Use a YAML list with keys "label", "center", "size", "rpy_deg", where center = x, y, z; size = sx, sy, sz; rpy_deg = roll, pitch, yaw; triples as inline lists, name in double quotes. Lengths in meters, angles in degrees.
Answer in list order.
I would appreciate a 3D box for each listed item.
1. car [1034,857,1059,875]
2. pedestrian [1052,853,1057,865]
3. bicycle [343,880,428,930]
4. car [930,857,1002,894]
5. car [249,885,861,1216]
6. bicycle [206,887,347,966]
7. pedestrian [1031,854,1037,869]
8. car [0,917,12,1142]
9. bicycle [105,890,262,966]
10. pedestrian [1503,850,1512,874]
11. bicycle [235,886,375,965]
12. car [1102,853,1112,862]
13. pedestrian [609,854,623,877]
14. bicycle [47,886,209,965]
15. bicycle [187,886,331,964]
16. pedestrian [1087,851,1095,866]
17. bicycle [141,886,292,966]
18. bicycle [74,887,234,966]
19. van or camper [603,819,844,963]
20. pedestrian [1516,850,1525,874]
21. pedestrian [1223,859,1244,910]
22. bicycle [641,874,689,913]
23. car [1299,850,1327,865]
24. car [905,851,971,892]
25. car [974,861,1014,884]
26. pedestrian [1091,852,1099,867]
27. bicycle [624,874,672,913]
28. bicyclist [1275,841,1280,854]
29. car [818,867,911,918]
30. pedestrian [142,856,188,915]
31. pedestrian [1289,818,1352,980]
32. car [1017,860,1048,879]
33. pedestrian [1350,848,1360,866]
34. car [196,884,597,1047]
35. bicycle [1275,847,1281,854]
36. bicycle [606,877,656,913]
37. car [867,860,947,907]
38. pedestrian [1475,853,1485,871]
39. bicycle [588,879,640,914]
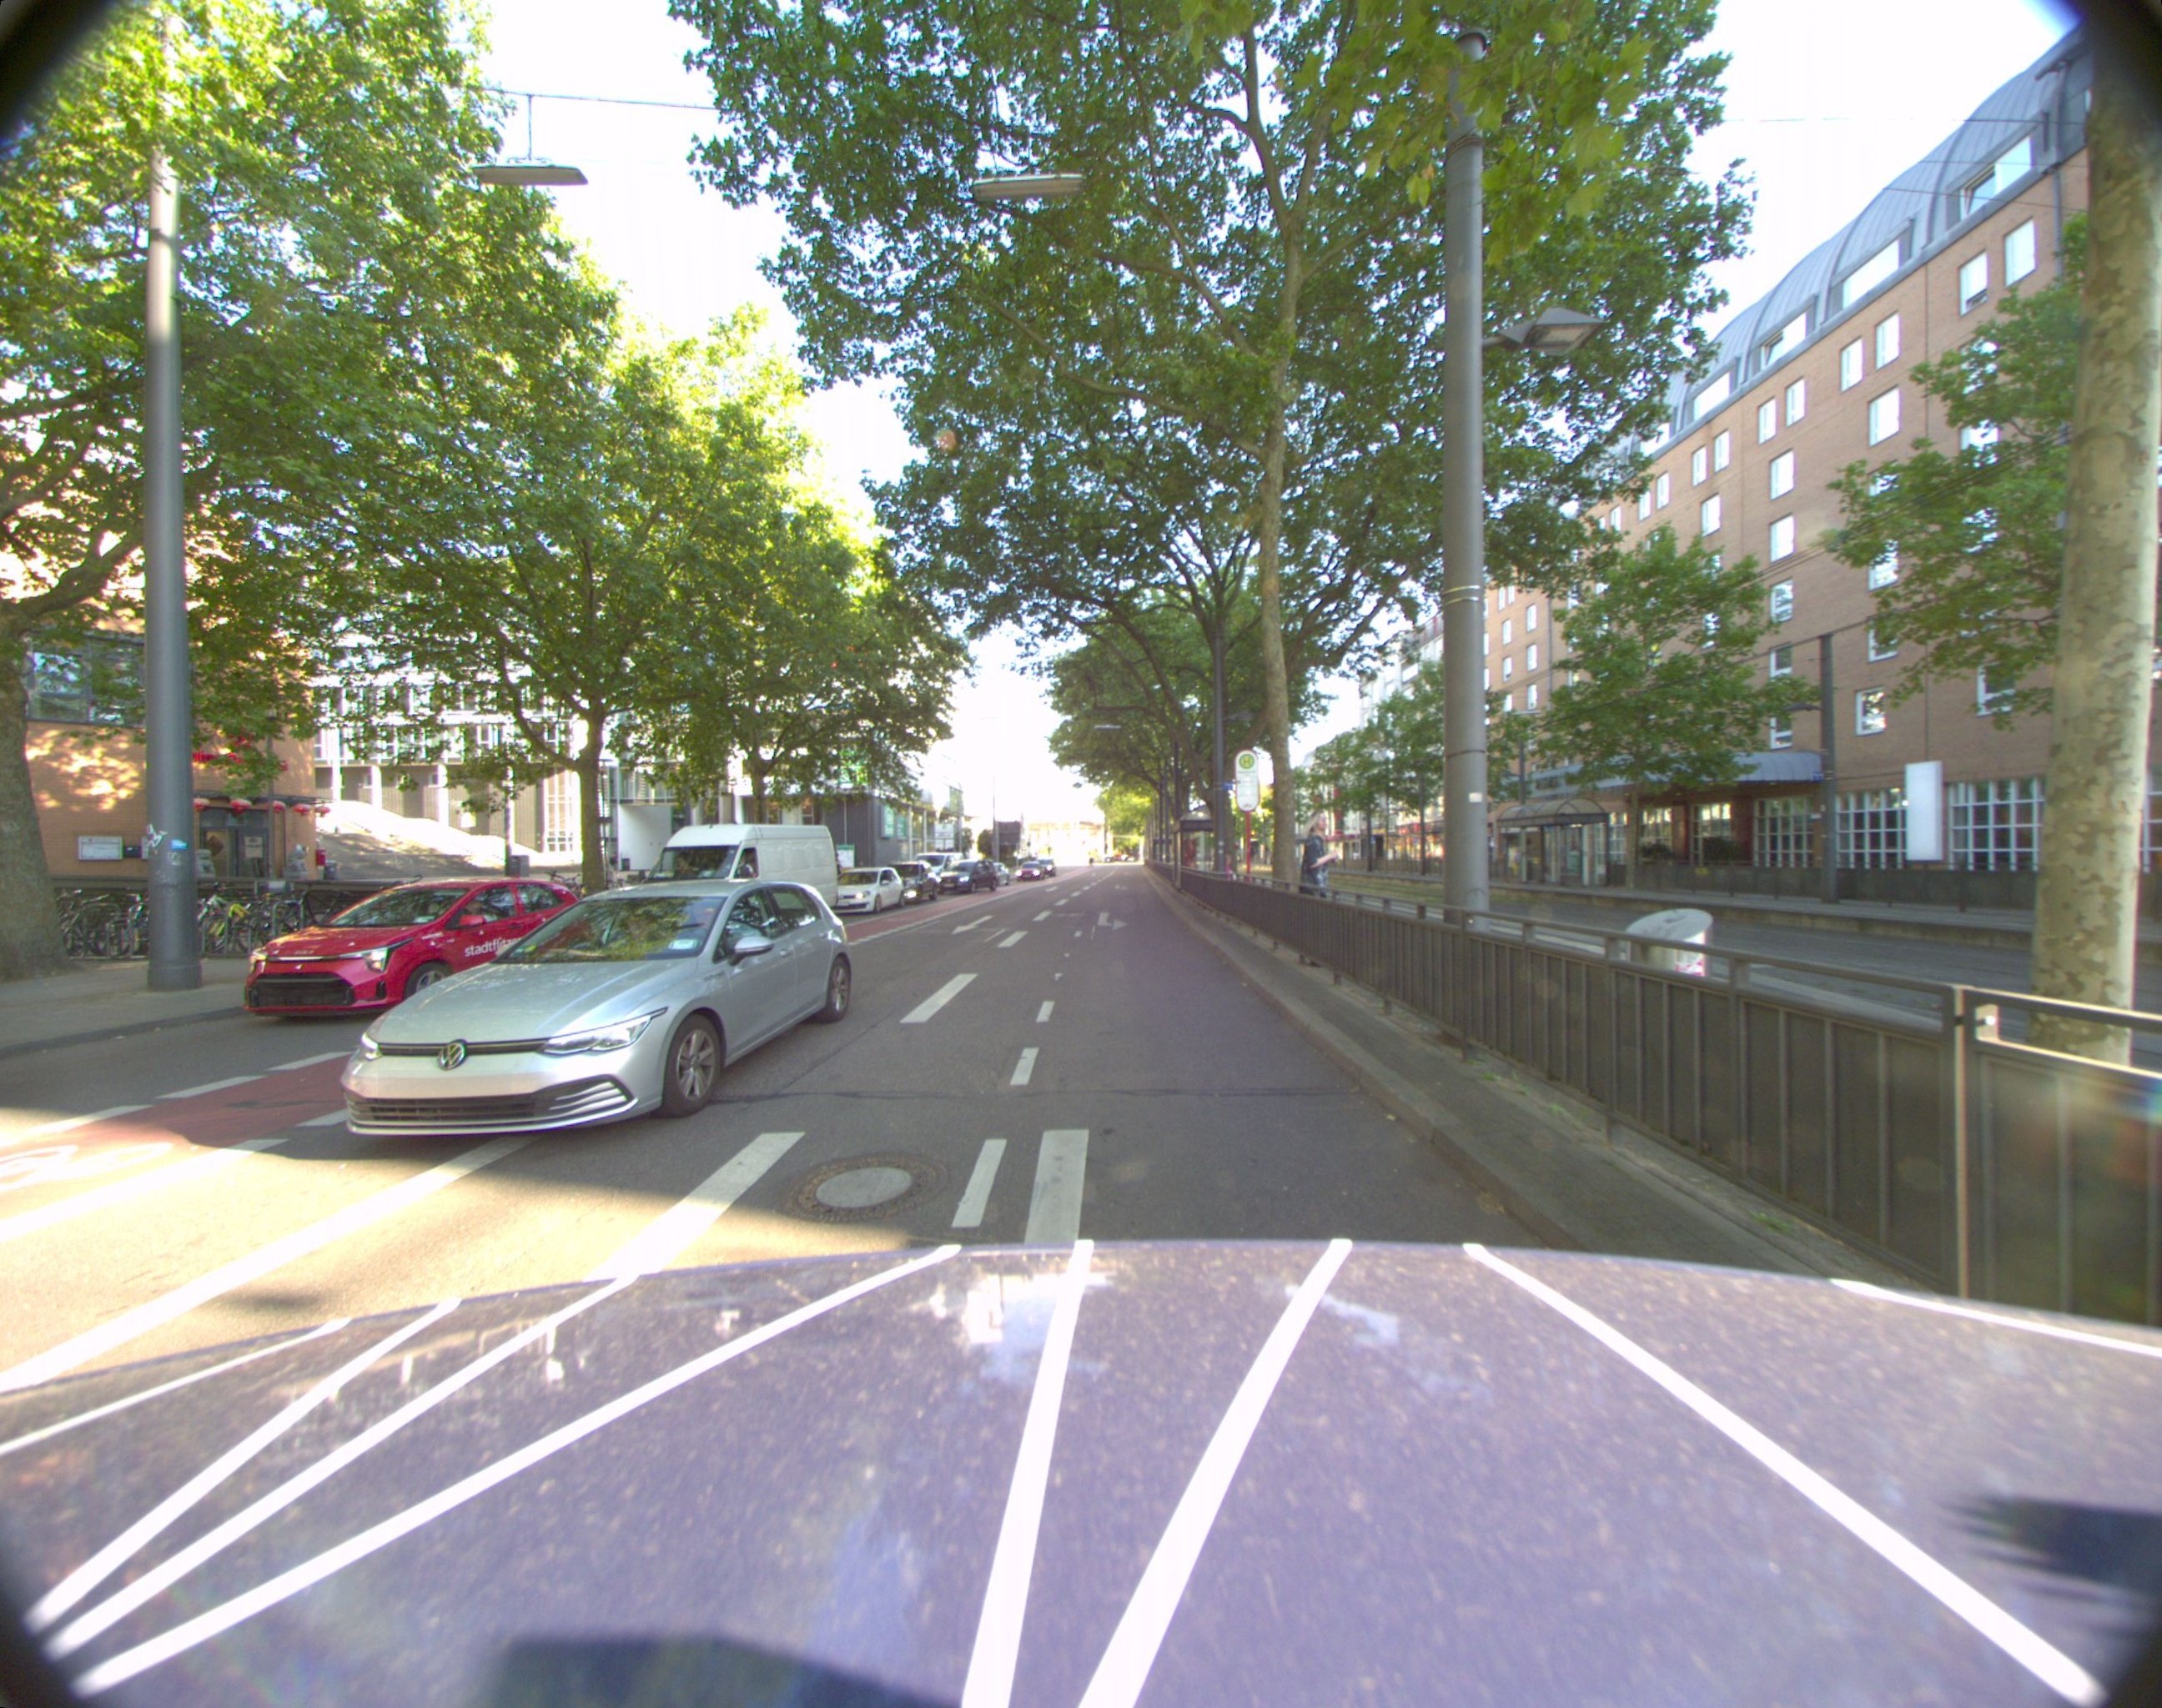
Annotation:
- label: "car"
  center: [-3.023, 1.043, 67.091]
  size: [1.801, 1.438, 4.001]
  rpy_deg: [0, 0, 3]
- label: "pedestrian"
  center: [-3.656, 0.640, 105.140]
  size: [0.611, 1.644, 0.583]
  rpy_deg: [-1, 1, 1]
- label: "bicycle"
  center: [-17.885, 1.285, 19.594]
  size: [0.517, 1.187, 1.790]
  rpy_deg: [0, 0, 1]
- label: "car"
  center: [-5.518, 1.013, 37.168]
  size: [1.964, 1.610, 4.335]
  rpy_deg: [-1, 0, 14]
- label: "car"
  center: [-3.227, 1.076, 5.811]
  size: [1.733, 1.432, 4.000]
  rpy_deg: [-2, 0, 2]
- label: "bicycle"
  center: [-13.822, 1.203, 13.136]
  size: [0.448, 1.187, 1.850]
  rpy_deg: [0, 0, 1]
- label: "pedestrian"
  center: [-5.351, 0.870, 86.979]
  size: [0.648, 1.644, 0.643]
  rpy_deg: [-1, 1, 1]
- label: "car"
  center: [-8.002, 1.168, 2.917]
  size: [1.743, 1.476, 4.251]
  rpy_deg: [-1, 0, 0]
- label: "bicycle"
  center: [-15.427, 1.235, 13.136]
  size: [0.485, 1.118, 1.850]
  rpy_deg: [0, 0, 1]
- label: "pedestrian"
  center: [26.892, 0.485, 47.921]
  size: [0.438, 1.497, 0.659]
  rpy_deg: [0, 1, 23]
- label: "bicycle"
  center: [-13.320, 1.192, 13.131]
  size: [0.482, 1.187, 1.850]
  rpy_deg: [0, 0, 1]
- label: "car"
  center: [5.847, 0.815, 173.708]
  size: [1.997, 2.002, 4.002]
  rpy_deg: [-1, 0, 6]
- label: "pedestrian"
  center: [-30.576, 0.755, 50.008]
  size: [0.719, 1.549, 0.639]
  rpy_deg: [-1, 1, -35]
- label: "bicycle"
  center: [-16.389, 1.197, 13.140]
  size: [0.435, 1.187, 1.850]
  rpy_deg: [0, 0, 1]
- label: "bicycle"
  center: [-14.328, 1.199, 13.327]
  size: [0.484, 1.187, 1.850]
  rpy_deg: [0, 0, 1]
- label: "pedestrian"
  center: [1.370, 0.592, 104.838]
  size: [0.772, 2.002, 0.831]
  rpy_deg: [-2, 1, 16]
- label: "bicycle"
  center: [-14.844, 1.198, 13.127]
  size: [0.447, 1.187, 1.850]
  rpy_deg: [0, 0, 1]
- label: "bicycle"
  center: [-15.926, 1.202, 13.138]
  size: [0.458, 1.187, 1.850]
  rpy_deg: [0, 0, 1]
- label: "van or camper"
  center: [-7.528, 0.663, 17.093]
  size: [1.998, 2.563, 6.575]
  rpy_deg: [-2, 0, 3]
- label: "pedestrian"
  center: [27.658, 0.520, 47.827]
  size: [0.438, 1.511, 0.659]
  rpy_deg: [0, 1, 23]
- label: "pedestrian"
  center: [3.930, 0.776, 19.625]
  size: [0.500, 1.308, 0.419]
  rpy_deg: [0, 1, 8]
- label: "bicycle"
  center: [-13.573, 1.262, 24.843]
  size: [0.522, 1.187, 1.850]
  rpy_deg: [0, 0, 1]
- label: "car"
  center: [24.388, 0.330, 80.005]
  size: [1.760, 1.479, 4.309]
  rpy_deg: [-1, 0, 2]
- label: "car"
  center: [-7.493, 0.861, 40.379]
  size: [1.965, 1.983, 4.960]
  rpy_deg: [-1, 0, 7]
- label: "car"
  center: [-5.492, 1.165, 48.381]
  size: [1.801, 1.369, 4.001]
  rpy_deg: [0, 0, 3]
- label: "pedestrian"
  center: [1.947, 0.755, 102.697]
  size: [0.772, 2.002, 0.831]
  rpy_deg: [-2, 1, 18]
- label: "bicycle"
  center: [-14.117, 1.266, 24.822]
  size: [0.495, 1.187, 1.850]
  rpy_deg: [0, 0, 1]
- label: "bicyclist"
  center: [28.020, -0.902, 108.339]
  size: [0.572, 1.893, 0.813]
  rpy_deg: [0, 1, 6]
- label: "car"
  center: [-6.993, 1.190, 24.964]
  size: [1.682, 1.420, 4.001]
  rpy_deg: [-1, 0, 3]
- label: "pedestrian"
  center: [-31.949, 1.082, 26.509]
  size: [0.875, 2.025, 0.586]
  rpy_deg: [0, 1, 6]
- label: "pedestrian"
  center: [2.849, 0.511, 9.075]
  size: [0.622, 1.873, 0.606]
  rpy_deg: [-1, 3, 9]
- label: "car"
  center: [-3.669, 1.155, 58.074]
  size: [1.801, 1.369, 4.001]
  rpy_deg: [0, 0, 3]
- label: "pedestrian"
  center: [30.941, 0.300, 85.724]
  size: [0.806, 2.002, 0.763]
  rpy_deg: [-1, 1, 1]
- label: "car"
  center: [-7.974, 1.181, 9.392]
  size: [1.606, 1.449, 3.651]
  rpy_deg: [-1, 0, 0]
- label: "bicycle"
  center: [28.114, -0.535, 108.483]
  size: [0.451, 0.998, 1.753]
  rpy_deg: [-1, 0, 6]
- label: "bicycle"
  center: [-14.661, 1.315, 24.821]
  size: [0.522, 1.088, 1.797]
  rpy_deg: [0, 0, 1]
- label: "car"
  center: [-6.706, 1.083, 29.765]
  size: [1.818, 1.610, 4.229]
  rpy_deg: [-1, 0, 5]
- label: "pedestrian"
  center: [30.909, 0.630, 58.904]
  size: [0.519, 1.427, 0.516]
  rpy_deg: [0, 1, 4]
- label: "bicycle"
  center: [-15.221, 1.364, 24.796]
  size: [0.516, 1.027, 1.850]
  rpy_deg: [0, 0, 1]
